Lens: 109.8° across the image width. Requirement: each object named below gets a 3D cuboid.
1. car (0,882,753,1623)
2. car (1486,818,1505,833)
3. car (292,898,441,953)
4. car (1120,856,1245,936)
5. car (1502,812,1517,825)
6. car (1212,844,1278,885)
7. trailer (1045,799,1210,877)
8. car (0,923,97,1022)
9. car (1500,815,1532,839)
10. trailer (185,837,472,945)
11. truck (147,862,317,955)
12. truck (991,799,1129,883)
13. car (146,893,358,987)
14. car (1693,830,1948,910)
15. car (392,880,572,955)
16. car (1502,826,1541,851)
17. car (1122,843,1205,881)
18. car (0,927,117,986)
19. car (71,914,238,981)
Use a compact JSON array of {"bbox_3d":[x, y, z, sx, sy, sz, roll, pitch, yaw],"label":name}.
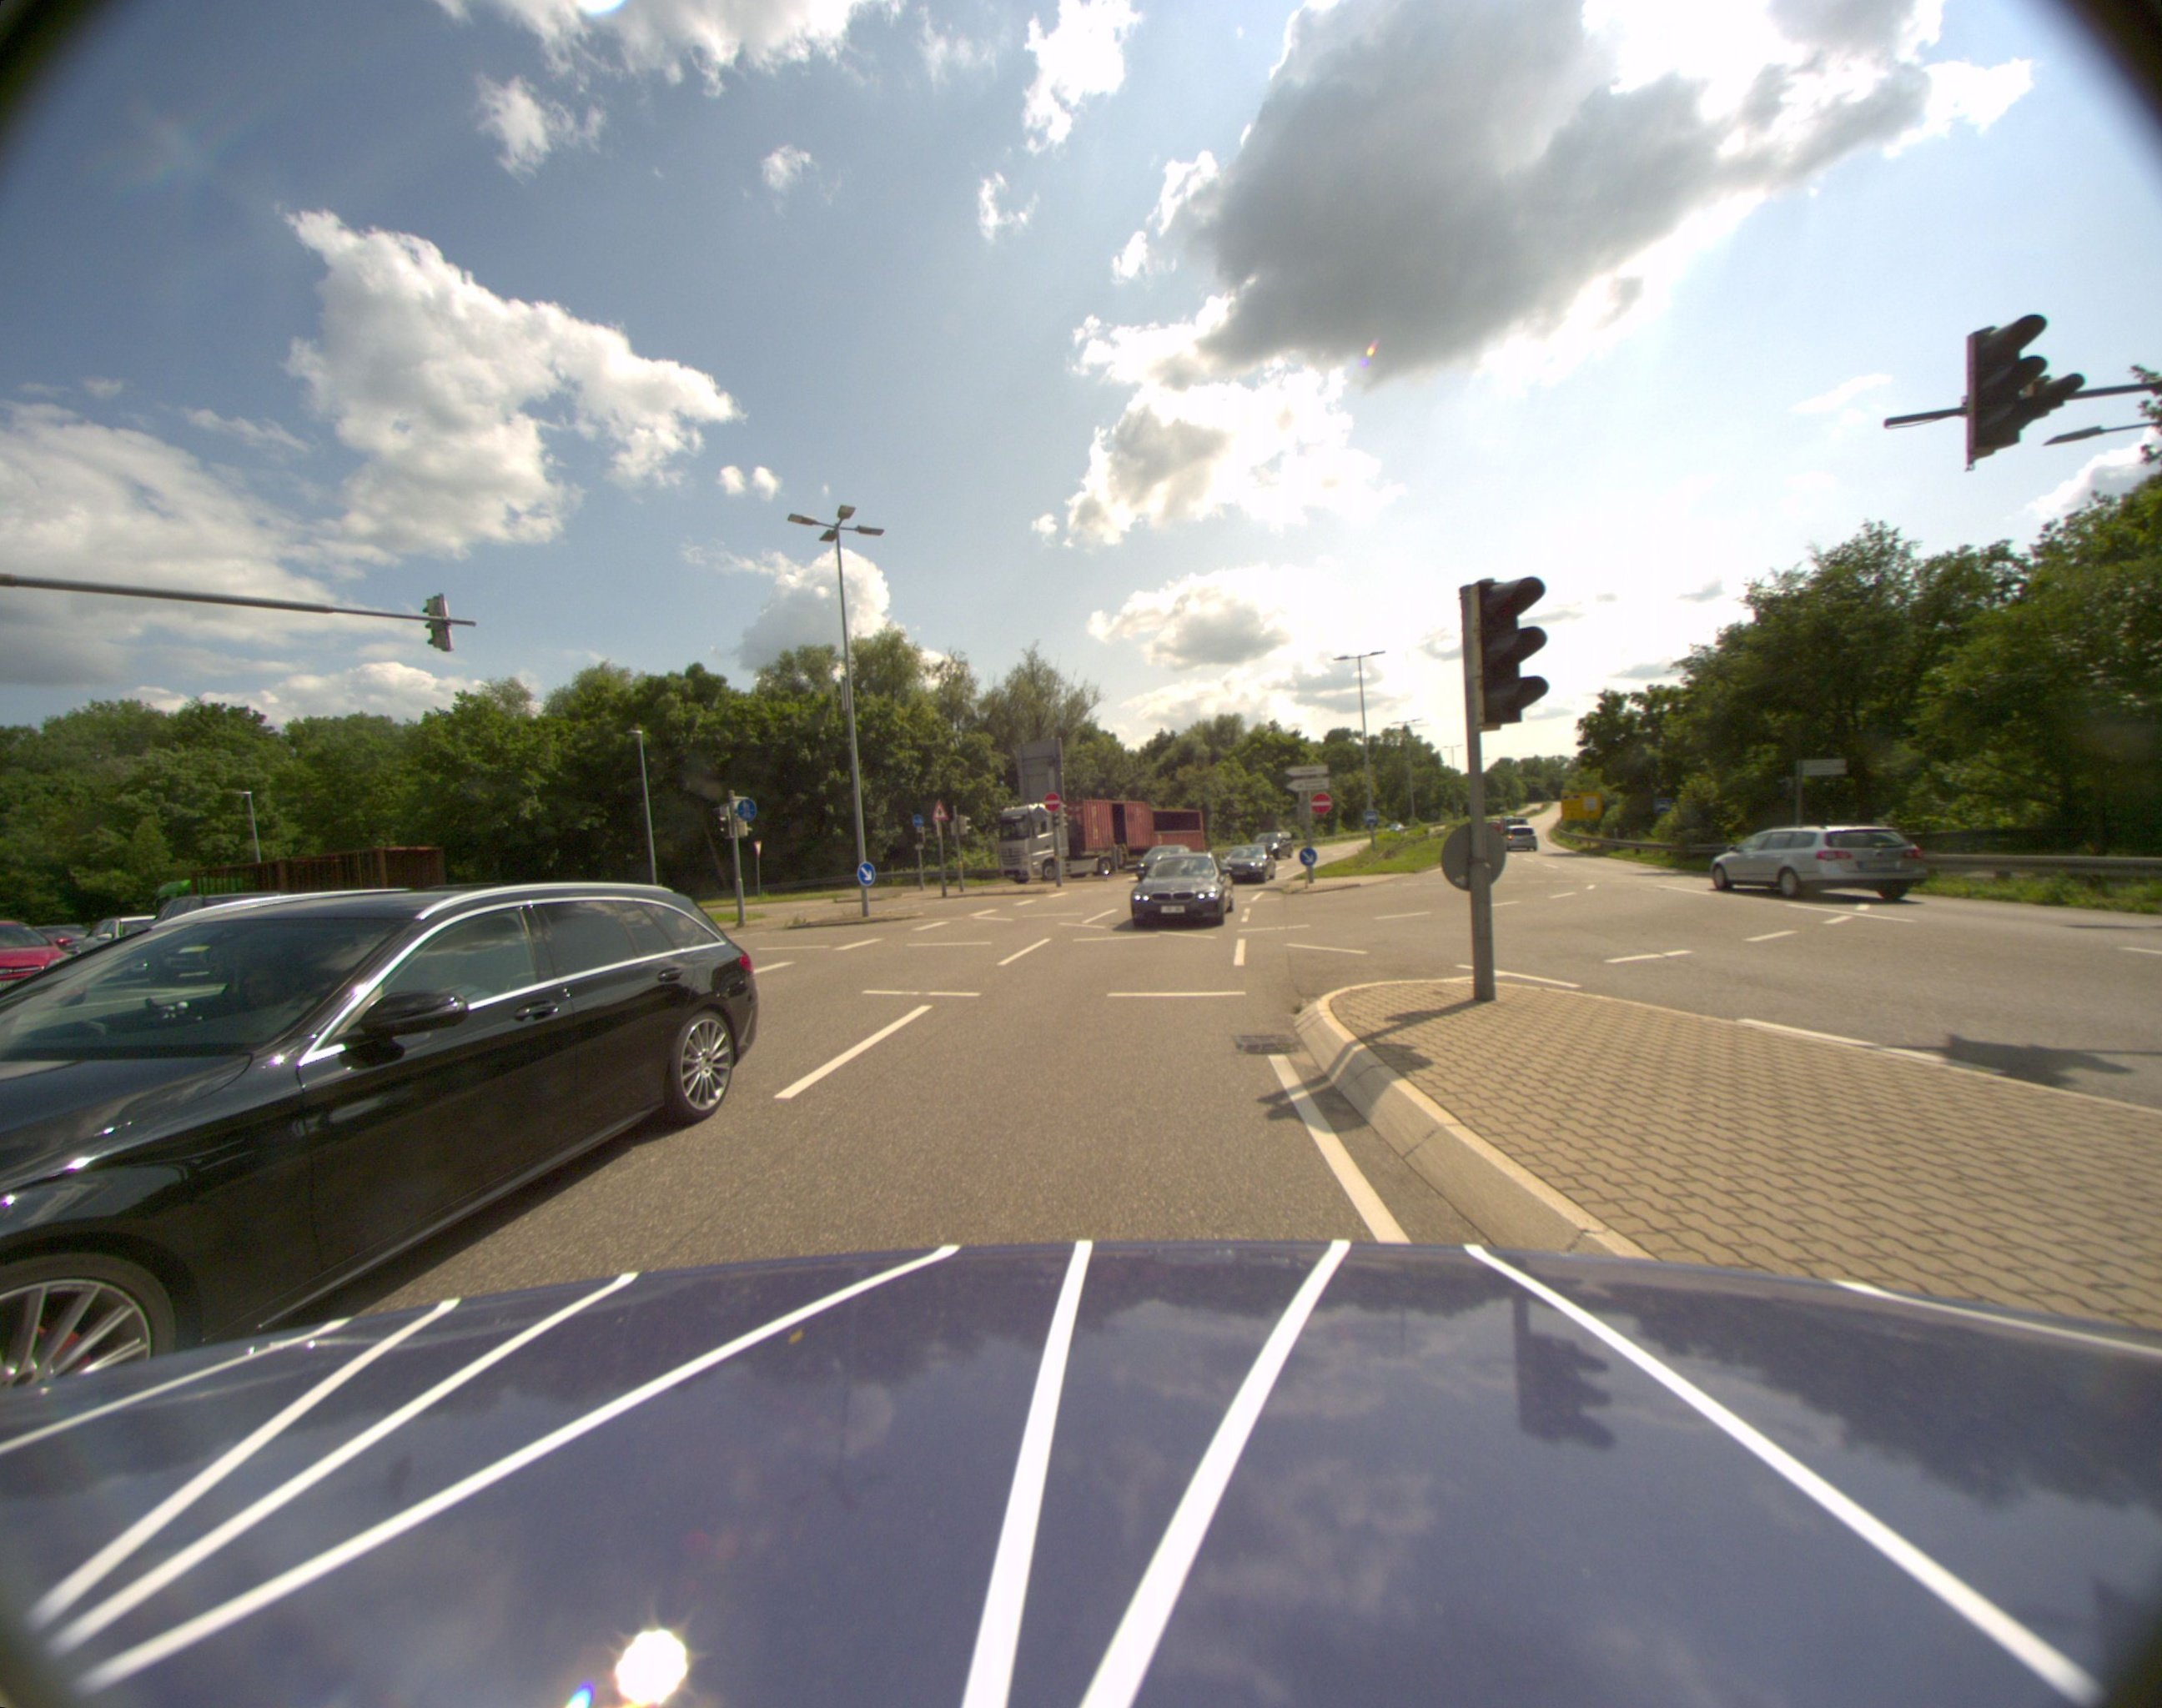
[{"bbox_3d":[-3.232,0.991,2.881,1.795,1.427,4.369,-3,1,3],"label":"car"},{"bbox_3d":[43.780,-3.009,80.277,1.582,1.424,4.007,-1,2,31],"label":"car"},{"bbox_3d":[-21.192,2.131,22.516,4.532,1.367,1.649,-4,0,26],"label":"car"},{"bbox_3d":[2.320,0.802,16.331,1.855,1.355,4.004,-1,2,20],"label":"car"},{"bbox_3d":[58.269,-4.821,103.249,1.711,1.577,4.289,0,2,31],"label":"car"},{"bbox_3d":[6.545,0.373,30.000,1.855,1.403,4.005,-3,1,22],"label":"car"},{"bbox_3d":[3.102,-1.046,43.267,2.773,3.828,12.343,-2,1,37],"label":"trailer"},{"bbox_3d":[-17.810,1.911,12.085,4.206,1.367,1.762,-4,0,26],"label":"car"},{"bbox_3d":[37.660,-2.327,65.859,1.995,2.002,5.142,0,2,25],"label":"car"},{"bbox_3d":[-34.757,1.763,34.999,13.823,3.869,2.650,-5,1,15],"label":"trailer"},{"bbox_3d":[-40.933,2.581,36.716,5.867,3.881,2.880,-5,1,15],"label":"truck"},{"bbox_3d":[-0.905,-0.725,38.288,2.771,3.823,6.832,-3,1,41],"label":"truck"},{"bbox_3d":[-17.604,1.799,16.127,4.206,1.636,1.840,-4,0,26],"label":"car"},{"bbox_3d":[15.502,0.242,16.364,1.685,1.469,4.716,-1,1,12],"label":"car"},{"bbox_3d":[-15.410,1.649,19.536,4.285,1.607,1.847,-4,2,26],"label":"car"},{"bbox_3d":[27.752,-1.003,47.968,1.734,1.512,4.074,-1,2,24],"label":"car"},{"bbox_3d":[3.585,0.316,32.418,1.855,1.403,4.007,-2,1,33],"label":"car"},{"bbox_3d":[-29.709,2.919,21.751,4.206,1.367,1.703,-4,0,26],"label":"car"},{"bbox_3d":[-23.160,2.319,18.975,4.206,1.367,1.649,-4,0,26],"label":"car"}]
